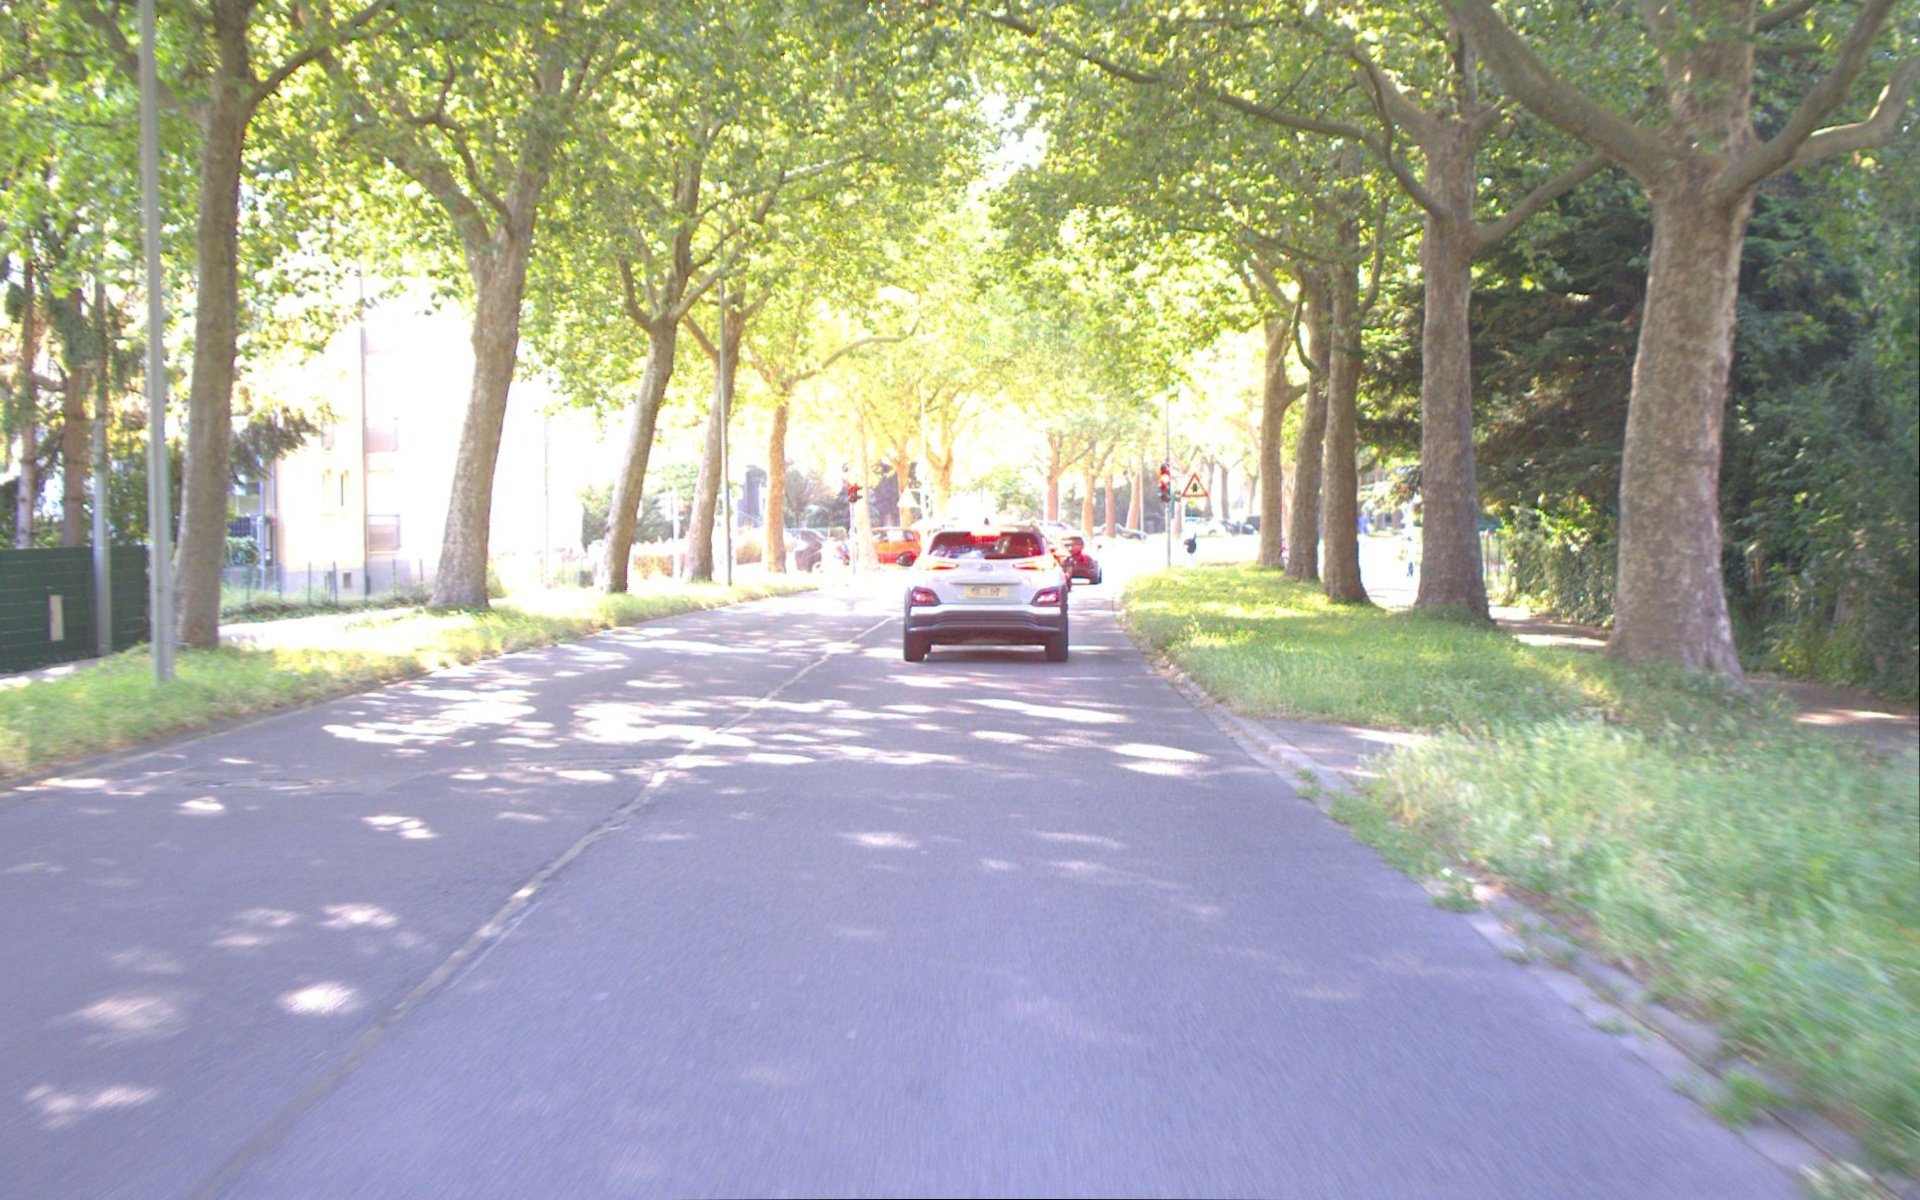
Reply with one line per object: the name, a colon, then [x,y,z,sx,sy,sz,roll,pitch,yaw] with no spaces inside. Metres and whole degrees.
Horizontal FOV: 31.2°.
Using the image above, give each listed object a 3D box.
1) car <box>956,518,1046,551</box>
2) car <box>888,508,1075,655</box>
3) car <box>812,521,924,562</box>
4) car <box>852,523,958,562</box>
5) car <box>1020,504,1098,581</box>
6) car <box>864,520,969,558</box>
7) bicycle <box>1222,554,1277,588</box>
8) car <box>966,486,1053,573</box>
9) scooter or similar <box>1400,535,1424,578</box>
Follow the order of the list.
car: [1.908,-2.992,157.233,3.987,1.473,2.000,1,1,4]
car: [0.294,-0.230,38.925,1.993,1.569,4.000,1,1,2]
car: [-3.409,-2.171,127.959,3.987,1.473,2.000,1,1,4]
car: [-2.141,-2.248,135.215,3.987,1.473,2.000,1,1,4]
car: [2.607,-1.524,91.636,1.993,2.007,4.000,0,1,1]
car: [-1.736,-2.432,137.912,3.988,1.473,1.999,1,1,7]
bicycle: [10.200,-1.021,121.290,0.603,1.160,2.149,0,1,-40]
car: [1.203,-1.664,81.822,1.993,2.007,4.000,1,1,2]
scooter or similar: [13.399,-1.278,101.943,0.549,1.254,2.313,1,1,5]
